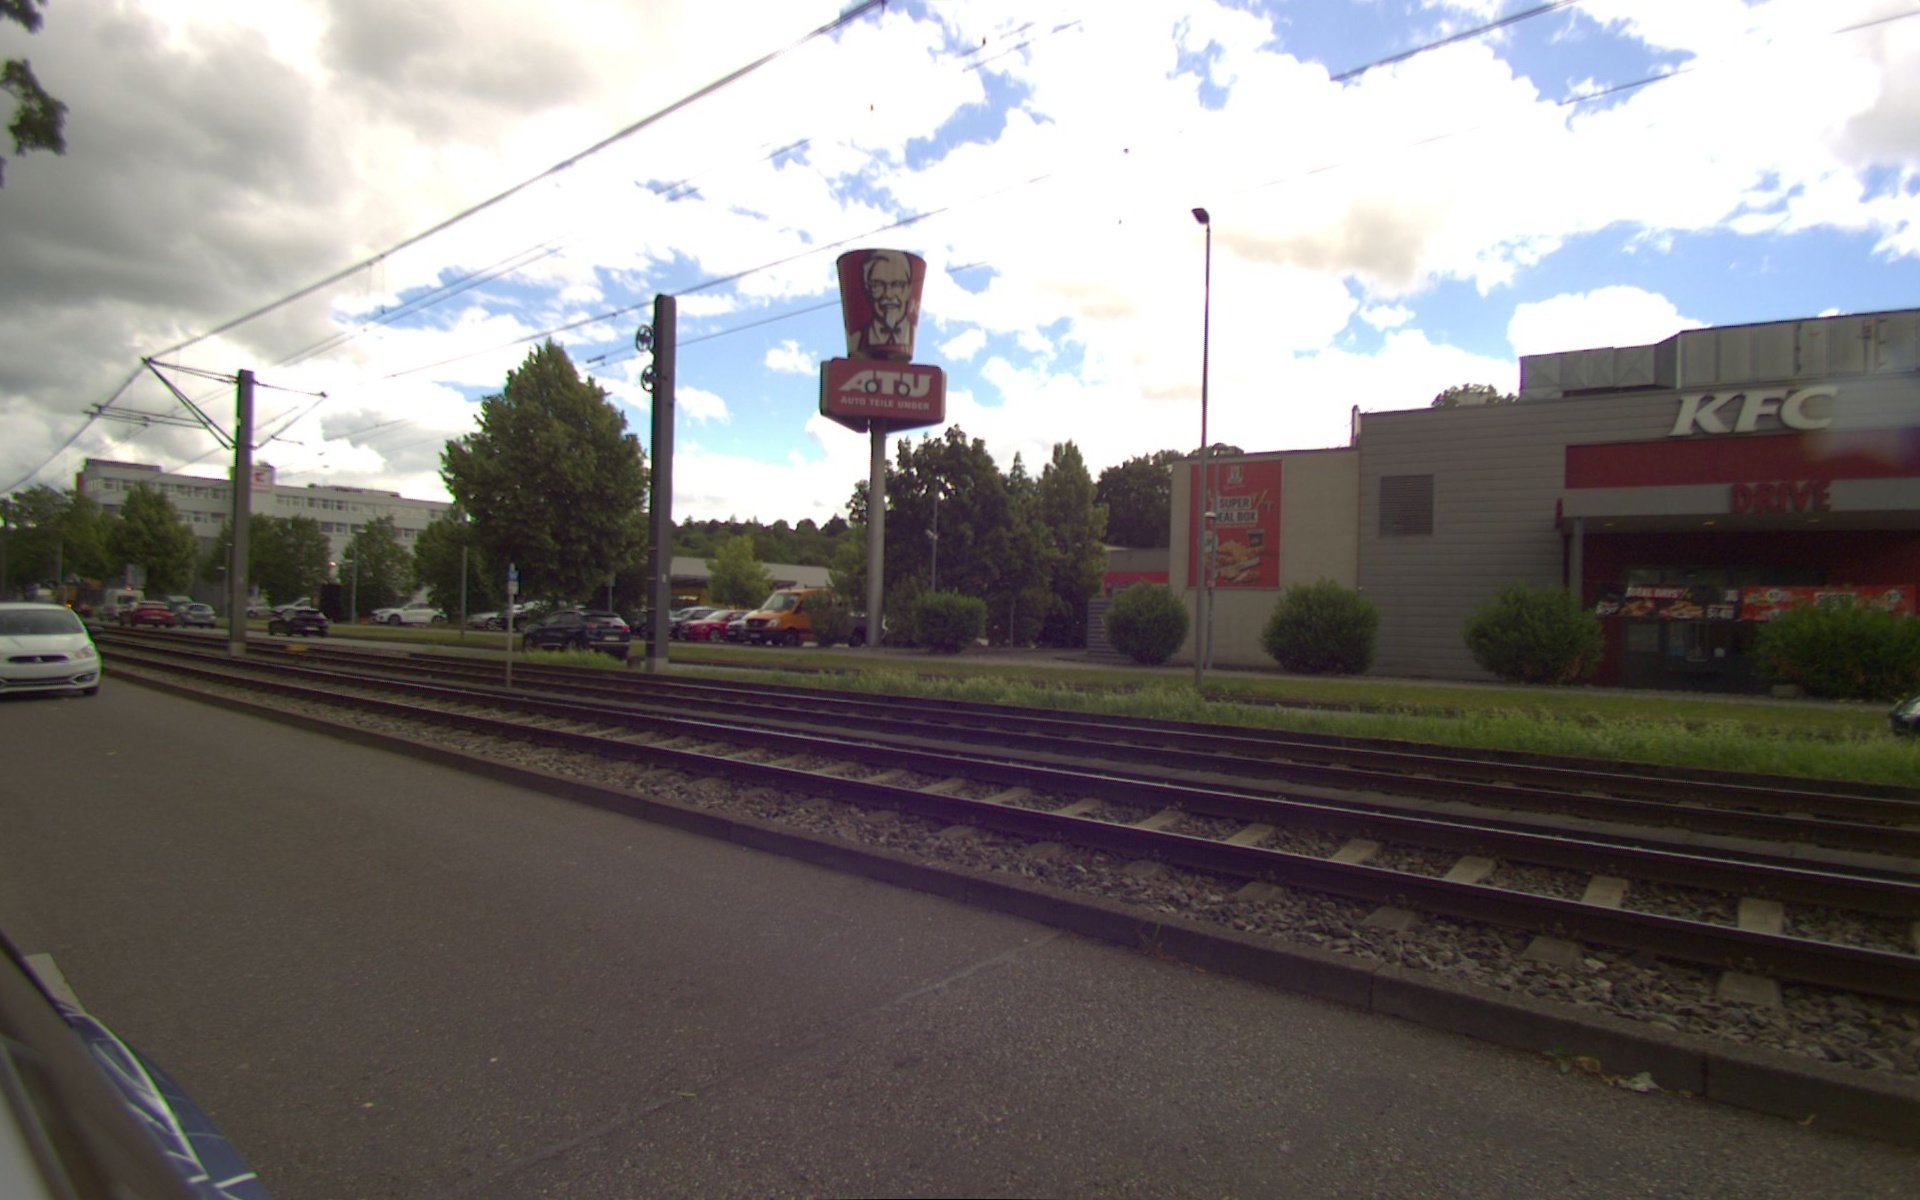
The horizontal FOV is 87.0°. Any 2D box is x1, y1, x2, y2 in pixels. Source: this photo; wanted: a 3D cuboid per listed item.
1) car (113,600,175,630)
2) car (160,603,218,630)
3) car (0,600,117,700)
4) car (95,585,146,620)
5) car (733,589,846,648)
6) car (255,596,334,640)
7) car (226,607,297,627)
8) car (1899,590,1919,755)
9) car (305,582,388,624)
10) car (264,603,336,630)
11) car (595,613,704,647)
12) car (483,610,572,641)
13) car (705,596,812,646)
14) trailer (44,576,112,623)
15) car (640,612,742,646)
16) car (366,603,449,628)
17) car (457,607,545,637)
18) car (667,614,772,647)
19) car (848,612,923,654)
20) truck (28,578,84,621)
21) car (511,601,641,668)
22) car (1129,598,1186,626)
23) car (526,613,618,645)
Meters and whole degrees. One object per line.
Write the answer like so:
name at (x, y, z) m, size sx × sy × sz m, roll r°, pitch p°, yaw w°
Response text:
car at (-46.799, 0.859, 58.033) m, size 4.476 × 1.594 × 1.766 m, roll 0°, pitch -3°, yaw 38°
car at (-47.973, 1.015, 62.973) m, size 3.997 × 1.494 × 1.973 m, roll 0°, pitch -4°, yaw 40°
car at (-15.489, 0.748, 16.653) m, size 3.996 × 1.455 × 1.764 m, roll 0°, pitch 1°, yaw 39°
car at (-64.861, 0.189, 78.142) m, size 5.995 × 2.518 × 1.850 m, roll 0°, pitch -3°, yaw 40°
car at (-6.585, 0.669, 39.391) m, size 2.057 × 2.182 × 3.946 m, roll 0°, pitch 1°, yaw 40°
car at (-33.260, 0.909, 50.540) m, size 3.993 × 2.029 × 1.975 m, roll 0°, pitch -4°, yaw 37°
car at (-58.006, 1.380, 84.104) m, size 2.001 × 1.504 × 4.549 m, roll 0°, pitch 1°, yaw 44°
car at (13.814, 0.912, 11.705) m, size 4.100 × 2.029 × 1.975 m, roll 0°, pitch -2°, yaw 37°
car at (-43.517, 0.222, 71.843) m, size 2.287 × 2.769 × 4.423 m, roll 0°, pitch -3°, yaw 41°
car at (-50.788, 1.242, 77.927) m, size 2.001 × 1.933 × 4.297 m, roll 0°, pitch 1°, yaw 44°
car at (-14.257, 1.331, 46.615) m, size 2.194 × 1.364 × 4.329 m, roll 0°, pitch 1°, yaw 40°
car at (-23.325, 1.354, 54.653) m, size 1.936 × 1.518 × 3.946 m, roll 0°, pitch 1°, yaw 40°
car at (-8.305, 0.831, 41.956) m, size 1.999 × 1.932 × 3.946 m, roll 0°, pitch 1°, yaw 40°
trailer at (-81.242, 0.015, 93.090) m, size 14.419 × 3.926 × 2.643 m, roll 0°, pitch -4°, yaw 41°
car at (-11.952, 1.261, 45.157) m, size 2.092 × 1.377 × 3.946 m, roll 0°, pitch 1°, yaw 40°
car at (-36.126, 0.998, 66.228) m, size 1.793 × 1.518 × 4.427 m, roll 0°, pitch 1°, yaw 38°
car at (-25.387, 1.199, 56.068) m, size 2.001 × 1.518 × 3.946 m, roll 0°, pitch 1°, yaw 40°
car at (-10.200, 1.258, 43.170) m, size 1.999 × 1.245 × 3.946 m, roll 0°, pitch 1°, yaw 40°
car at (-3.866, 1.713, 53.132) m, size 1.950 × 2.029 × 3.692 m, roll 0°, pitch 1°, yaw 39°
truck at (-89.958, -0.004, 100.615) m, size 8.625 × 3.997 × 2.862 m, roll 0°, pitch -3°, yaw 40°
car at (-12.471, 1.090, 32.773) m, size 4.240 × 2.029 × 1.975 m, roll 0°, pitch -2°, yaw 37°
car at (12.001, 0.702, 61.262) m, size 1.919 × 1.634 × 3.692 m, roll 0°, pitch 1°, yaw 39°
car at (-19.697, 1.429, 51.440) m, size 1.936 × 1.432 × 3.946 m, roll 0°, pitch 1°, yaw 40°
